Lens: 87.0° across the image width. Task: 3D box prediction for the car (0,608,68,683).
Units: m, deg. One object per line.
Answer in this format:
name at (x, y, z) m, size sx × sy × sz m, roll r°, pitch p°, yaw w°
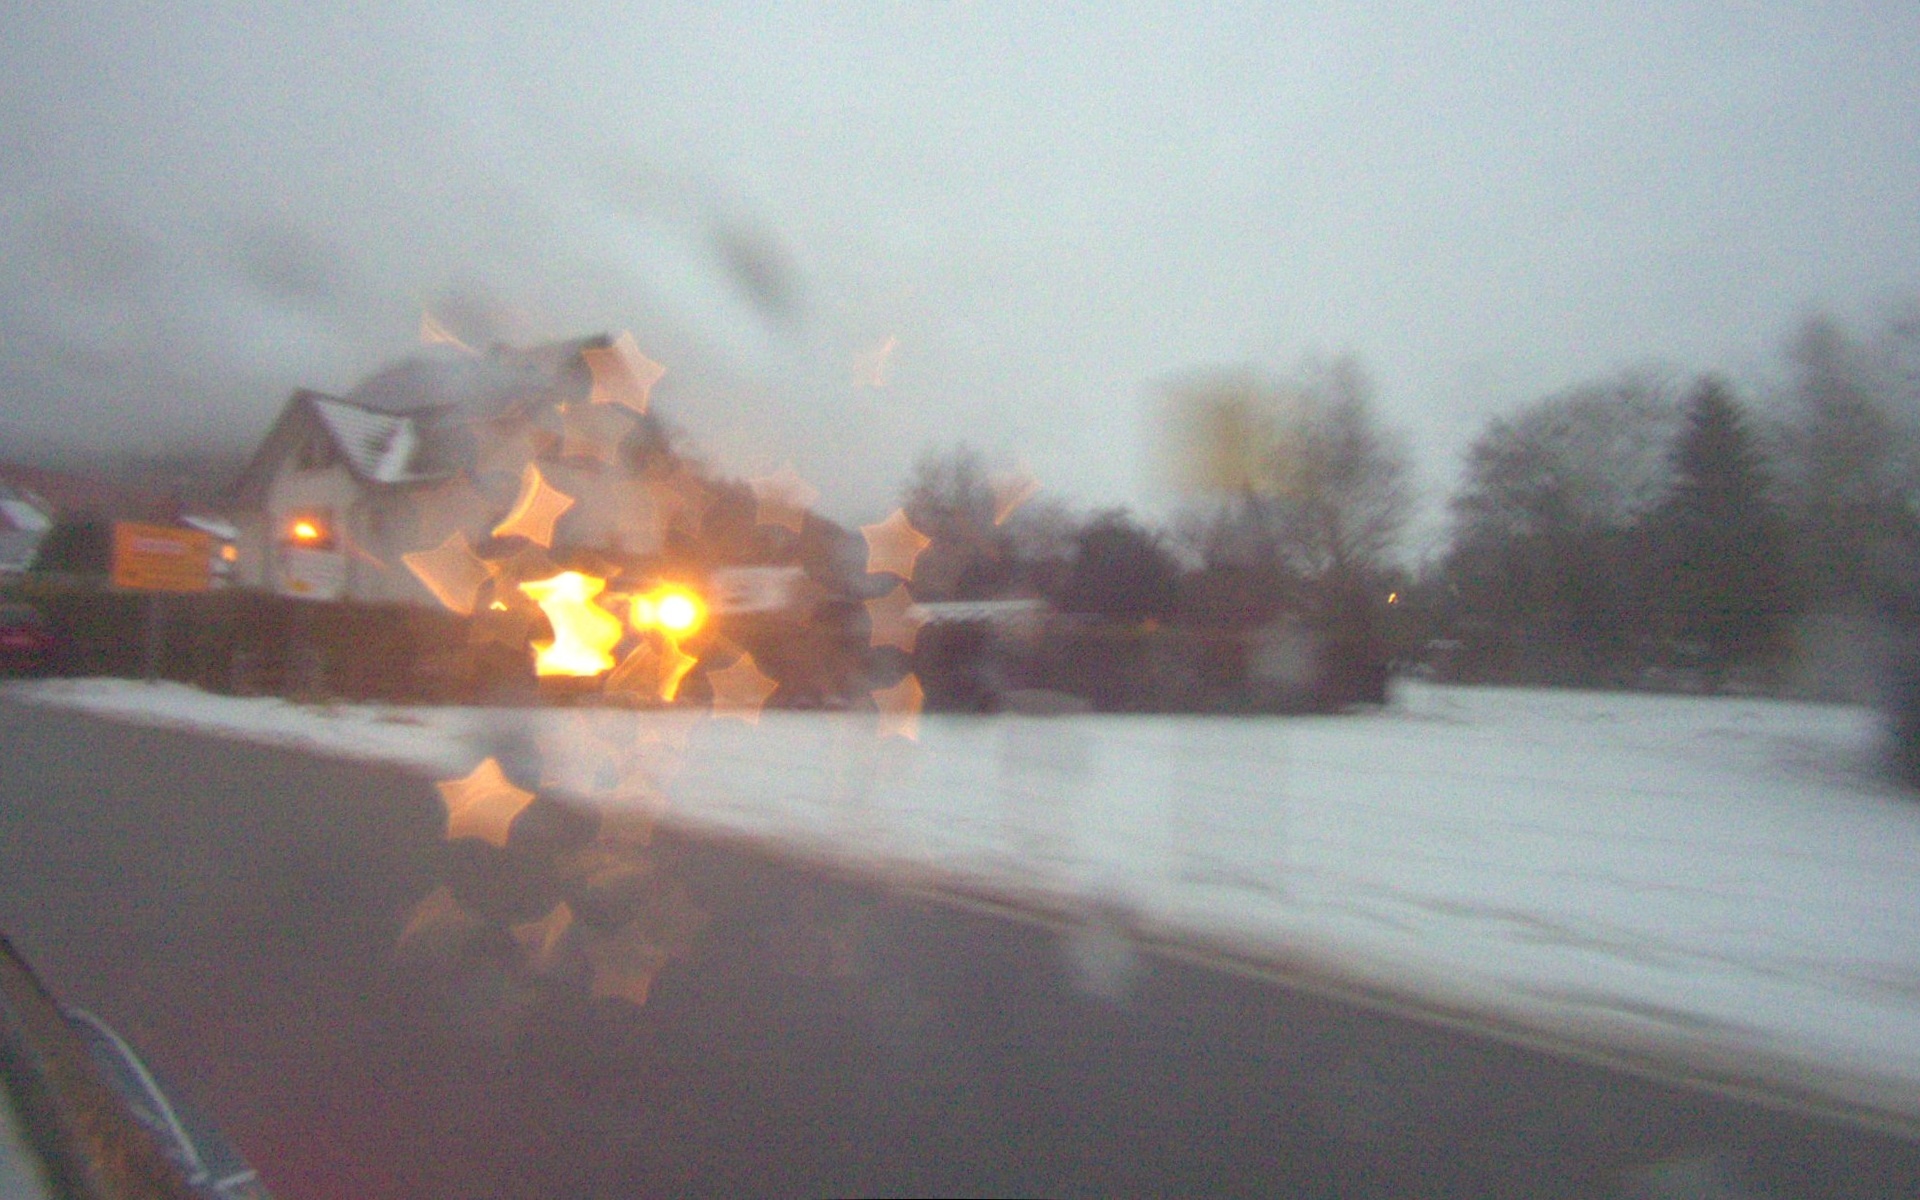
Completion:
car at (-21.275, 0.955, 22.009) m, size 3.502 × 1.546 × 1.707 m, roll 0°, pitch -3°, yaw 30°
